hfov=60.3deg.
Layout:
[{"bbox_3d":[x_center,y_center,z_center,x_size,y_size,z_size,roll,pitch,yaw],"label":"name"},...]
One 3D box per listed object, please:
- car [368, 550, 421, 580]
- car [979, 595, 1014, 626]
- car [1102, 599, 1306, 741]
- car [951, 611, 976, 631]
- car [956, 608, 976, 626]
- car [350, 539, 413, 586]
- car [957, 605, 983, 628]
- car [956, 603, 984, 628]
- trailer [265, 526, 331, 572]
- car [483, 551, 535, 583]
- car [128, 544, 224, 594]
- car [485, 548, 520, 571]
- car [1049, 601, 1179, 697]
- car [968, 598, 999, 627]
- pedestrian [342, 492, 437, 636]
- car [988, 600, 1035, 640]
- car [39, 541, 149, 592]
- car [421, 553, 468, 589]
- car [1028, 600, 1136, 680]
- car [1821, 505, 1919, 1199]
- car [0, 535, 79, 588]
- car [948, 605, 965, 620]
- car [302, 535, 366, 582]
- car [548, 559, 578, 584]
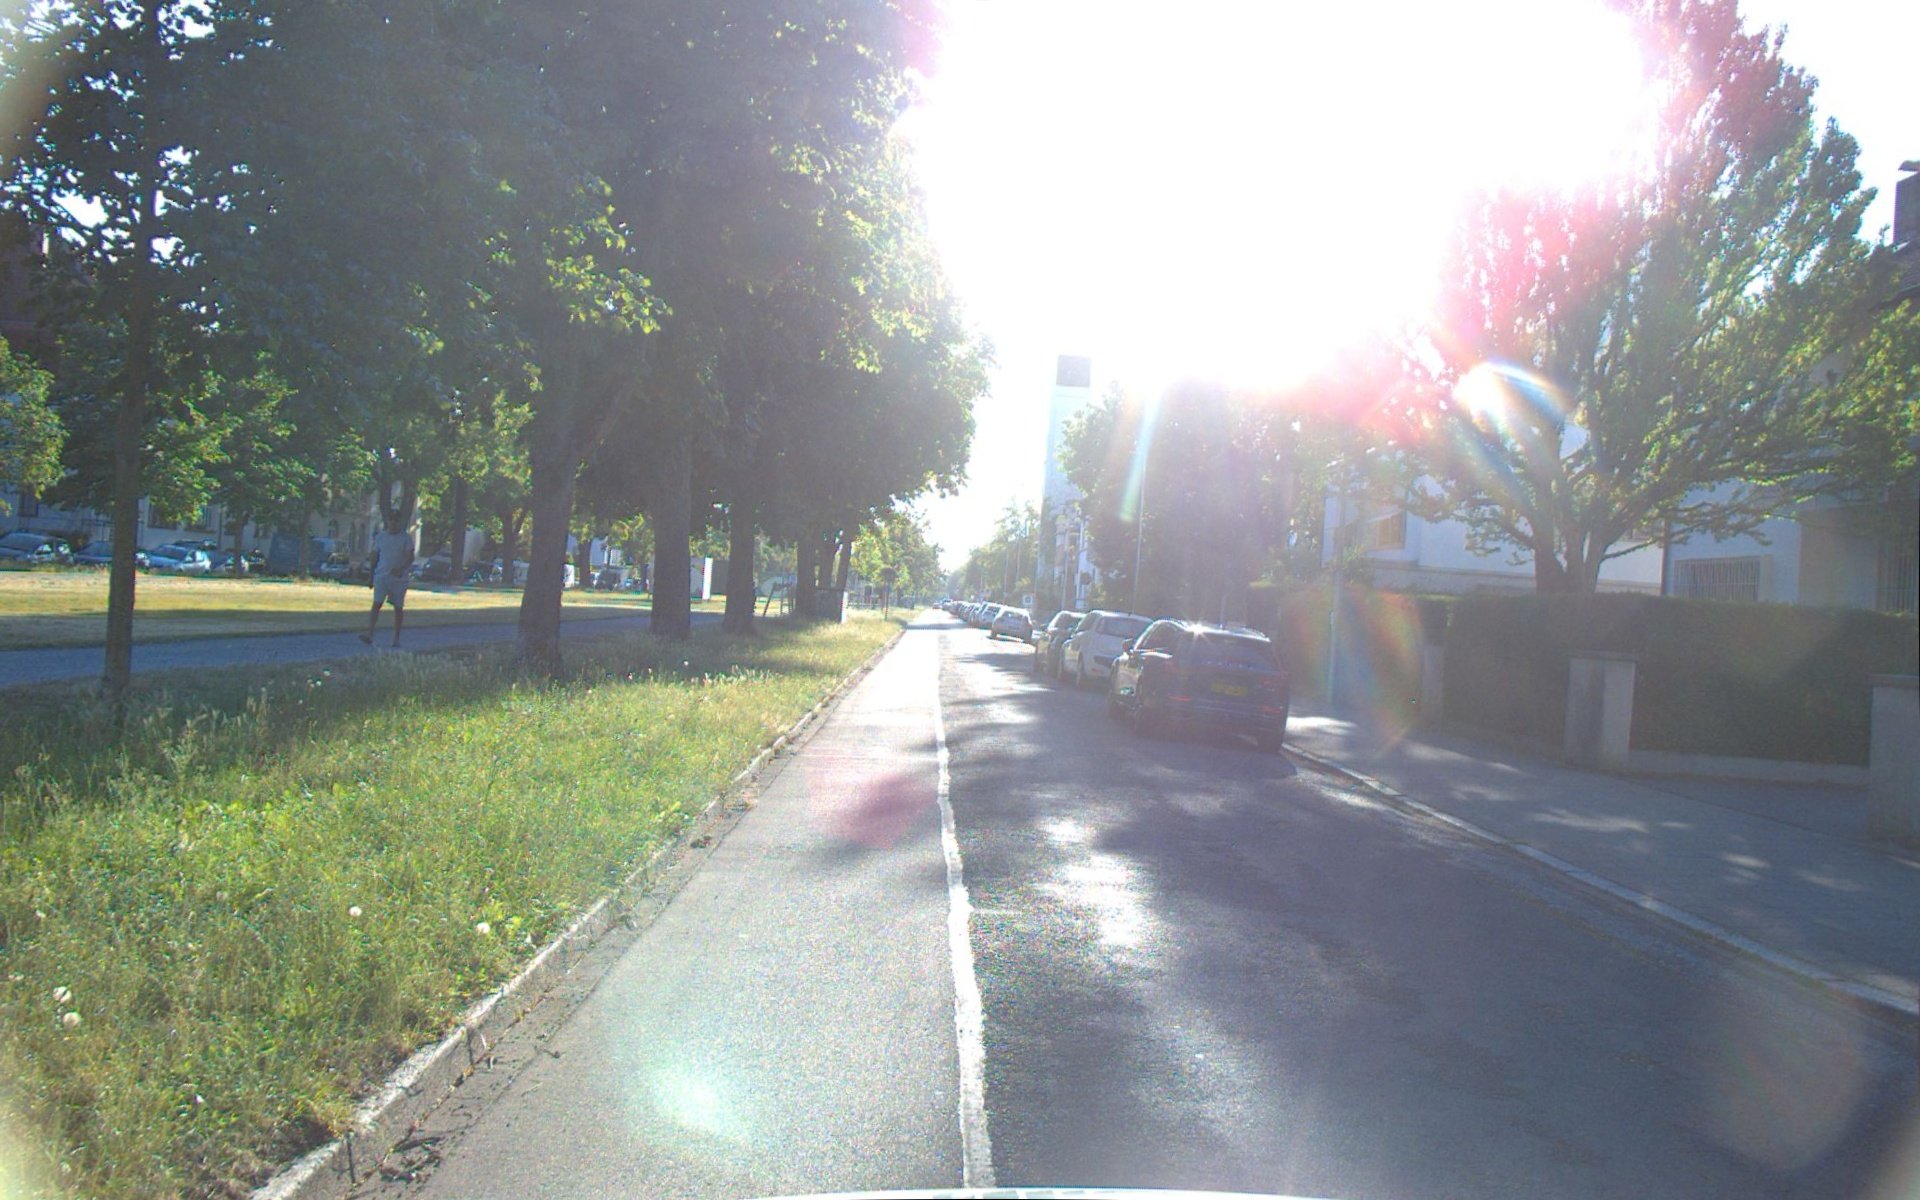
[{"bbox_3d":[-34.253,-2.124,100.323,1.650,1.586,4.314,4,0,0],"label":"car"},{"bbox_3d":[2.115,0.606,97.675,1.723,1.633,4.357,4,0,-2],"label":"car"},{"bbox_3d":[3.054,0.836,21.638,1.757,1.518,4.673,5,-1,-1],"label":"car"},{"bbox_3d":[0.310,1.721,138.717,1.953,1.489,4.000,4,0,0],"label":"car"},{"bbox_3d":[0.661,1.776,171.248,1.953,1.657,4.000,4,0,0],"label":"car"},{"bbox_3d":[-40.448,-2.592,115.797,2.388,2.973,5.816,2,-1,-1],"label":"car"},{"bbox_3d":[0.777,1.279,128.154,1.726,1.547,3.998,6,0,-2],"label":"car"},{"bbox_3d":[0.677,1.075,117.526,1.723,1.633,4.357,4,0,-2],"label":"car"},{"bbox_3d":[-39.989,-3.050,100.058,1.953,2.470,4.723,4,0,0],"label":"trailer"},{"bbox_3d":[-35.126,-2.550,128.882,2.483,2.275,5.458,4,0,-1],"label":"car"},{"bbox_3d":[-33.893,-1.321,71.650,1.953,1.892,4.255,5,-1,0],"label":"car"},{"bbox_3d":[-42.522,-3.731,153.747,1.953,2.048,4.484,-2,1,-1],"label":"car"},{"bbox_3d":[2.901,0.891,31.957,1.659,1.507,3.925,8,0,-5],"label":"car"},{"bbox_3d":[1.456,0.768,103.420,1.651,1.679,4.099,4,0,-1],"label":"car"},{"bbox_3d":[-7.414,-0.462,21.535,0.709,1.788,0.993,4,0,5],"label":"pedestrian"},{"bbox_3d":[2.275,0.889,74.181,1.723,1.443,4.071,10,0,0],"label":"car"},{"bbox_3d":[-34.417,-1.307,65.859,1.953,1.751,4.255,5,-1,0],"label":"car"},{"bbox_3d":[-34.427,-1.905,110.557,1.651,2.213,4.314,4,0,0],"label":"car"},{"bbox_3d":[2.658,0.841,36.963,1.715,1.502,4.285,6,0,-4],"label":"car"},{"bbox_3d":[3.434,0.722,2.053,1.954,1.767,4.862,4,0,-2],"label":"car"},{"bbox_3d":[-33.869,-1.420,59.556,1.953,1.713,4.000,5,-1,1],"label":"car"},{"bbox_3d":[-0.364,1.501,199.310,1.940,1.712,4.000,4,0,0],"label":"car"},{"bbox_3d":[-40.119,-2.638,106.140,1.953,2.719,5.186,4,0,0],"label":"car"},{"bbox_3d":[-41.408,-2.917,172.551,1.953,2.451,4.362,2,-1,-1],"label":"car"}]
